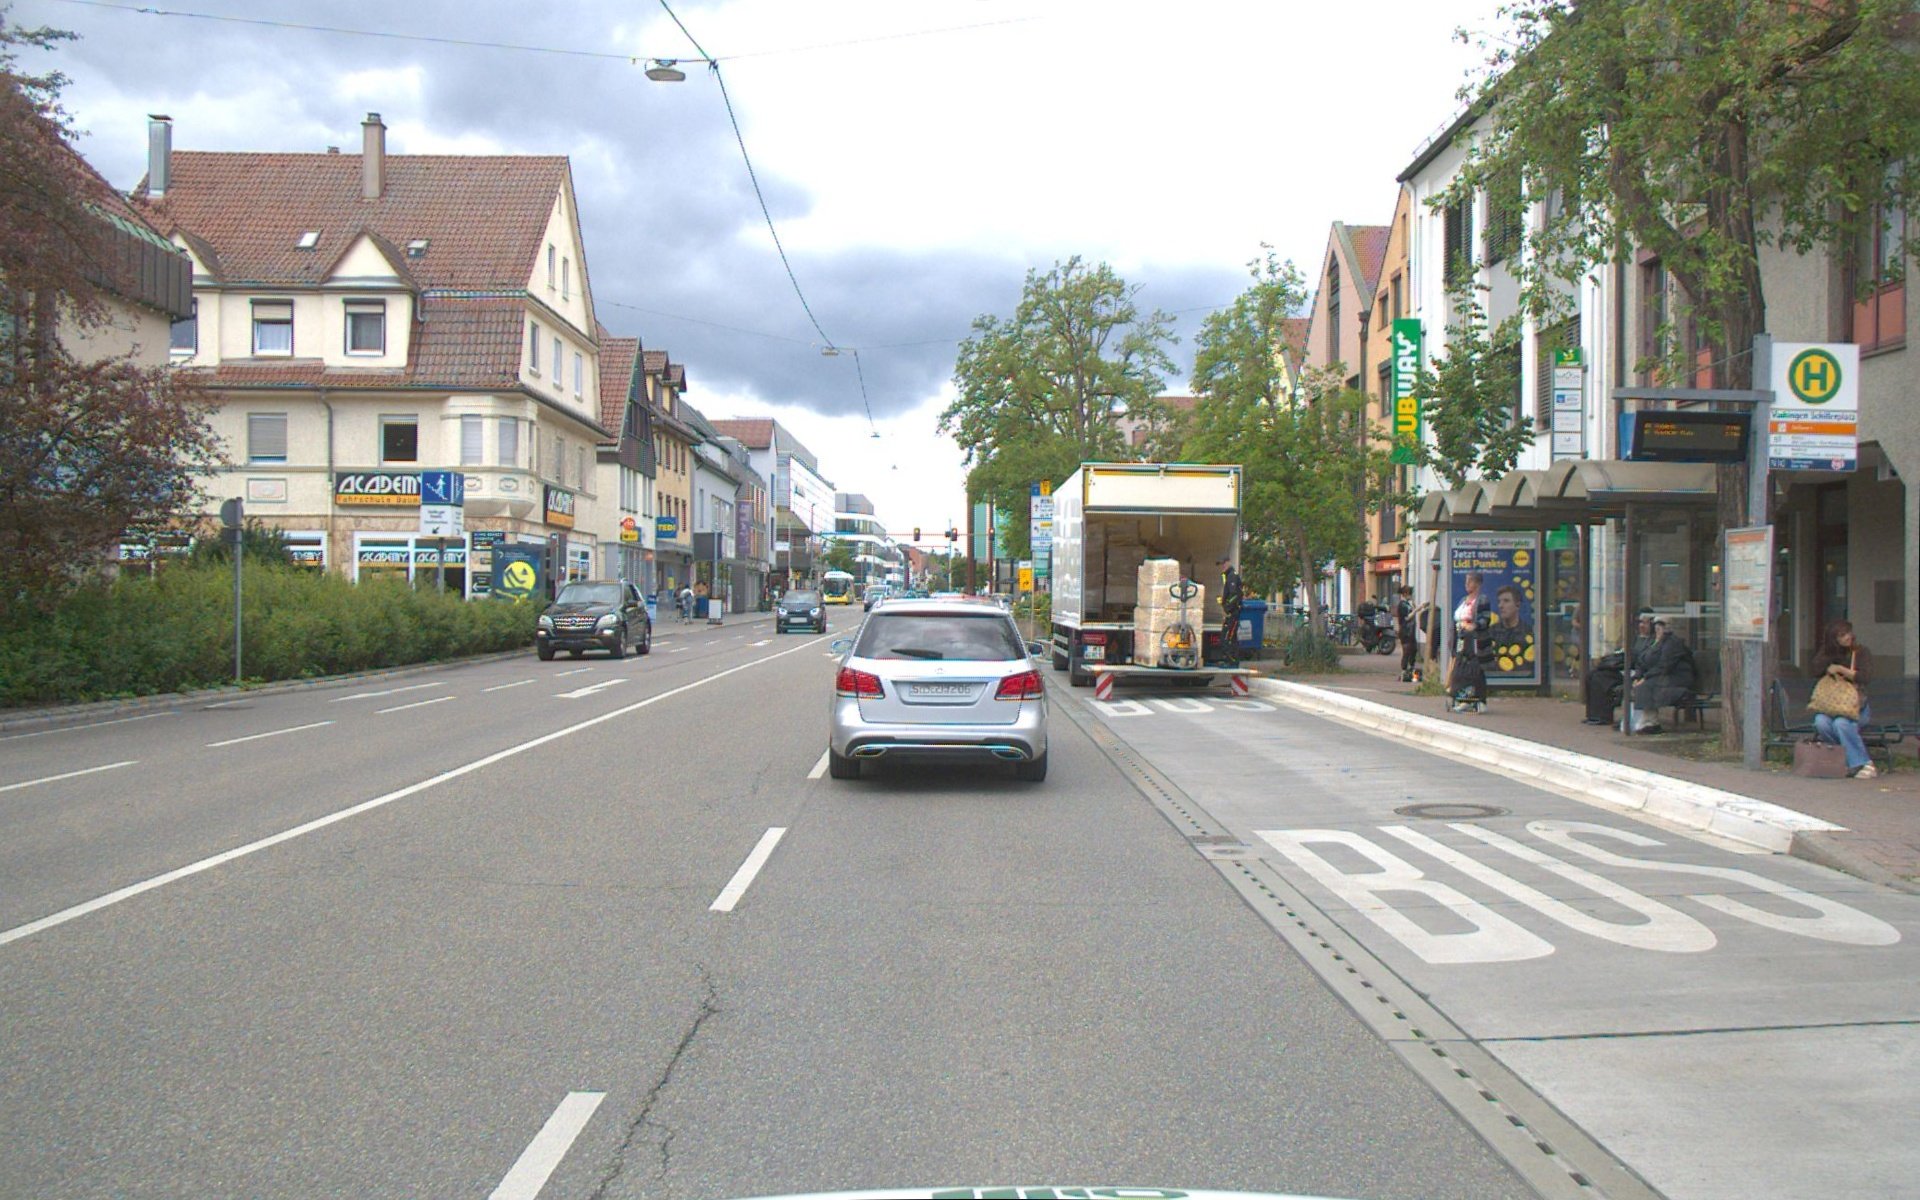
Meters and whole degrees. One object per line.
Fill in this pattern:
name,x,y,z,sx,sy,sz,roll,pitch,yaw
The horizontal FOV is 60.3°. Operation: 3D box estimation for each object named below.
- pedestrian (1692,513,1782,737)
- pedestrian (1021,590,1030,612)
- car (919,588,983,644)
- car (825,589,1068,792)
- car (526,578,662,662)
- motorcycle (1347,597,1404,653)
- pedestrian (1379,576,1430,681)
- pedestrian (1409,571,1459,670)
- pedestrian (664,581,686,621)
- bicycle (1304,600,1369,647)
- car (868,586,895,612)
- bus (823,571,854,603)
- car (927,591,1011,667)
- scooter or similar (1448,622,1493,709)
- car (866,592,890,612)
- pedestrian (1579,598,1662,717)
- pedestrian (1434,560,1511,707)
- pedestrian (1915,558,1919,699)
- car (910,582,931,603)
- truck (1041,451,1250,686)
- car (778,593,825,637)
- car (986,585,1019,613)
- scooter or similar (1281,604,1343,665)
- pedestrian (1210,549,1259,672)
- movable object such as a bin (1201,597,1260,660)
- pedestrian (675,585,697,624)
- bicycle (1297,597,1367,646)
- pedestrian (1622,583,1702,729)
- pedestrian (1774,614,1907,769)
pedestrian,7.421,0.238,15.821,0.600,2.083,0.588,-2,-1,13
pedestrian,5.256,0.073,132.746,0.602,1.663,0.587,3,0,-9
car,-0.281,0.473,52.742,1.953,1.713,4.000,0,0,0
car,-0.177,0.691,14.636,1.836,1.532,3.998,1,0,-2
car,-8.348,0.424,38.173,2.026,1.769,4.693,-2,0,0
motorcycle,10.076,0.589,40.163,0.722,1.293,2.106,0,0,-4
pedestrian,7.662,0.481,28.545,0.601,1.770,0.587,3,0,-4
pedestrian,7.933,0.341,27.666,0.578,1.640,0.610,-1,-2,45
pedestrian,-13.125,0.056,76.130,0.850,1.777,0.805,3,0,-5
bicycle,10.404,0.633,45.748,1.641,1.281,0.669,0,0,-4
car,-6.283,-0.096,133.134,1.921,1.995,5.139,-1,0,0
bus,-12.537,-1.325,171.207,2.718,3.220,5.932,0,0,0
car,0.167,0.594,35.853,1.718,1.547,3.999,0,0,0
scooter or similar,5.832,0.743,18.887,0.382,0.976,0.350,0,0,-42
car,-6.095,0.166,123.085,1.583,1.453,3.923,0,0,0
pedestrian,7.177,0.617,17.988,0.685,1.254,0.588,-2,0,9
pedestrian,5.964,0.388,19.263,0.528,1.663,0.583,3,0,-25
pedestrian,11.701,0.341,19.313,0.712,1.663,0.614,0,0,-9
car,-3.920,-0.754,164.491,1.953,2.049,3.999,0,0,-1
truck,3.115,-0.524,30.496,2.634,3.623,9.765,0,0,-1
car,-5.664,0.519,59.416,1.539,1.567,2.959,0,0,-3
car,2.606,-0.065,102.914,1.953,1.713,4.000,0,0,0
scooter or similar,7.159,0.690,33.643,1.154,1.217,0.459,0,0,-10
pedestrian,4.111,0.158,24.812,0.601,1.811,0.587,0,-1,-4
movable object such as a bin,6.016,0.615,36.812,1.120,1.363,1.376,0,0,1
pedestrian,-11.940,0.206,72.038,0.801,1.663,0.979,2,0,-6
bicycle,10.485,0.594,46.644,1.780,1.350,0.843,0,0,-4
pedestrian,7.073,0.558,16.681,0.600,1.425,0.588,-2,-1,13
pedestrian,6.977,0.715,13.124,0.698,1.186,0.587,1,1,-7
